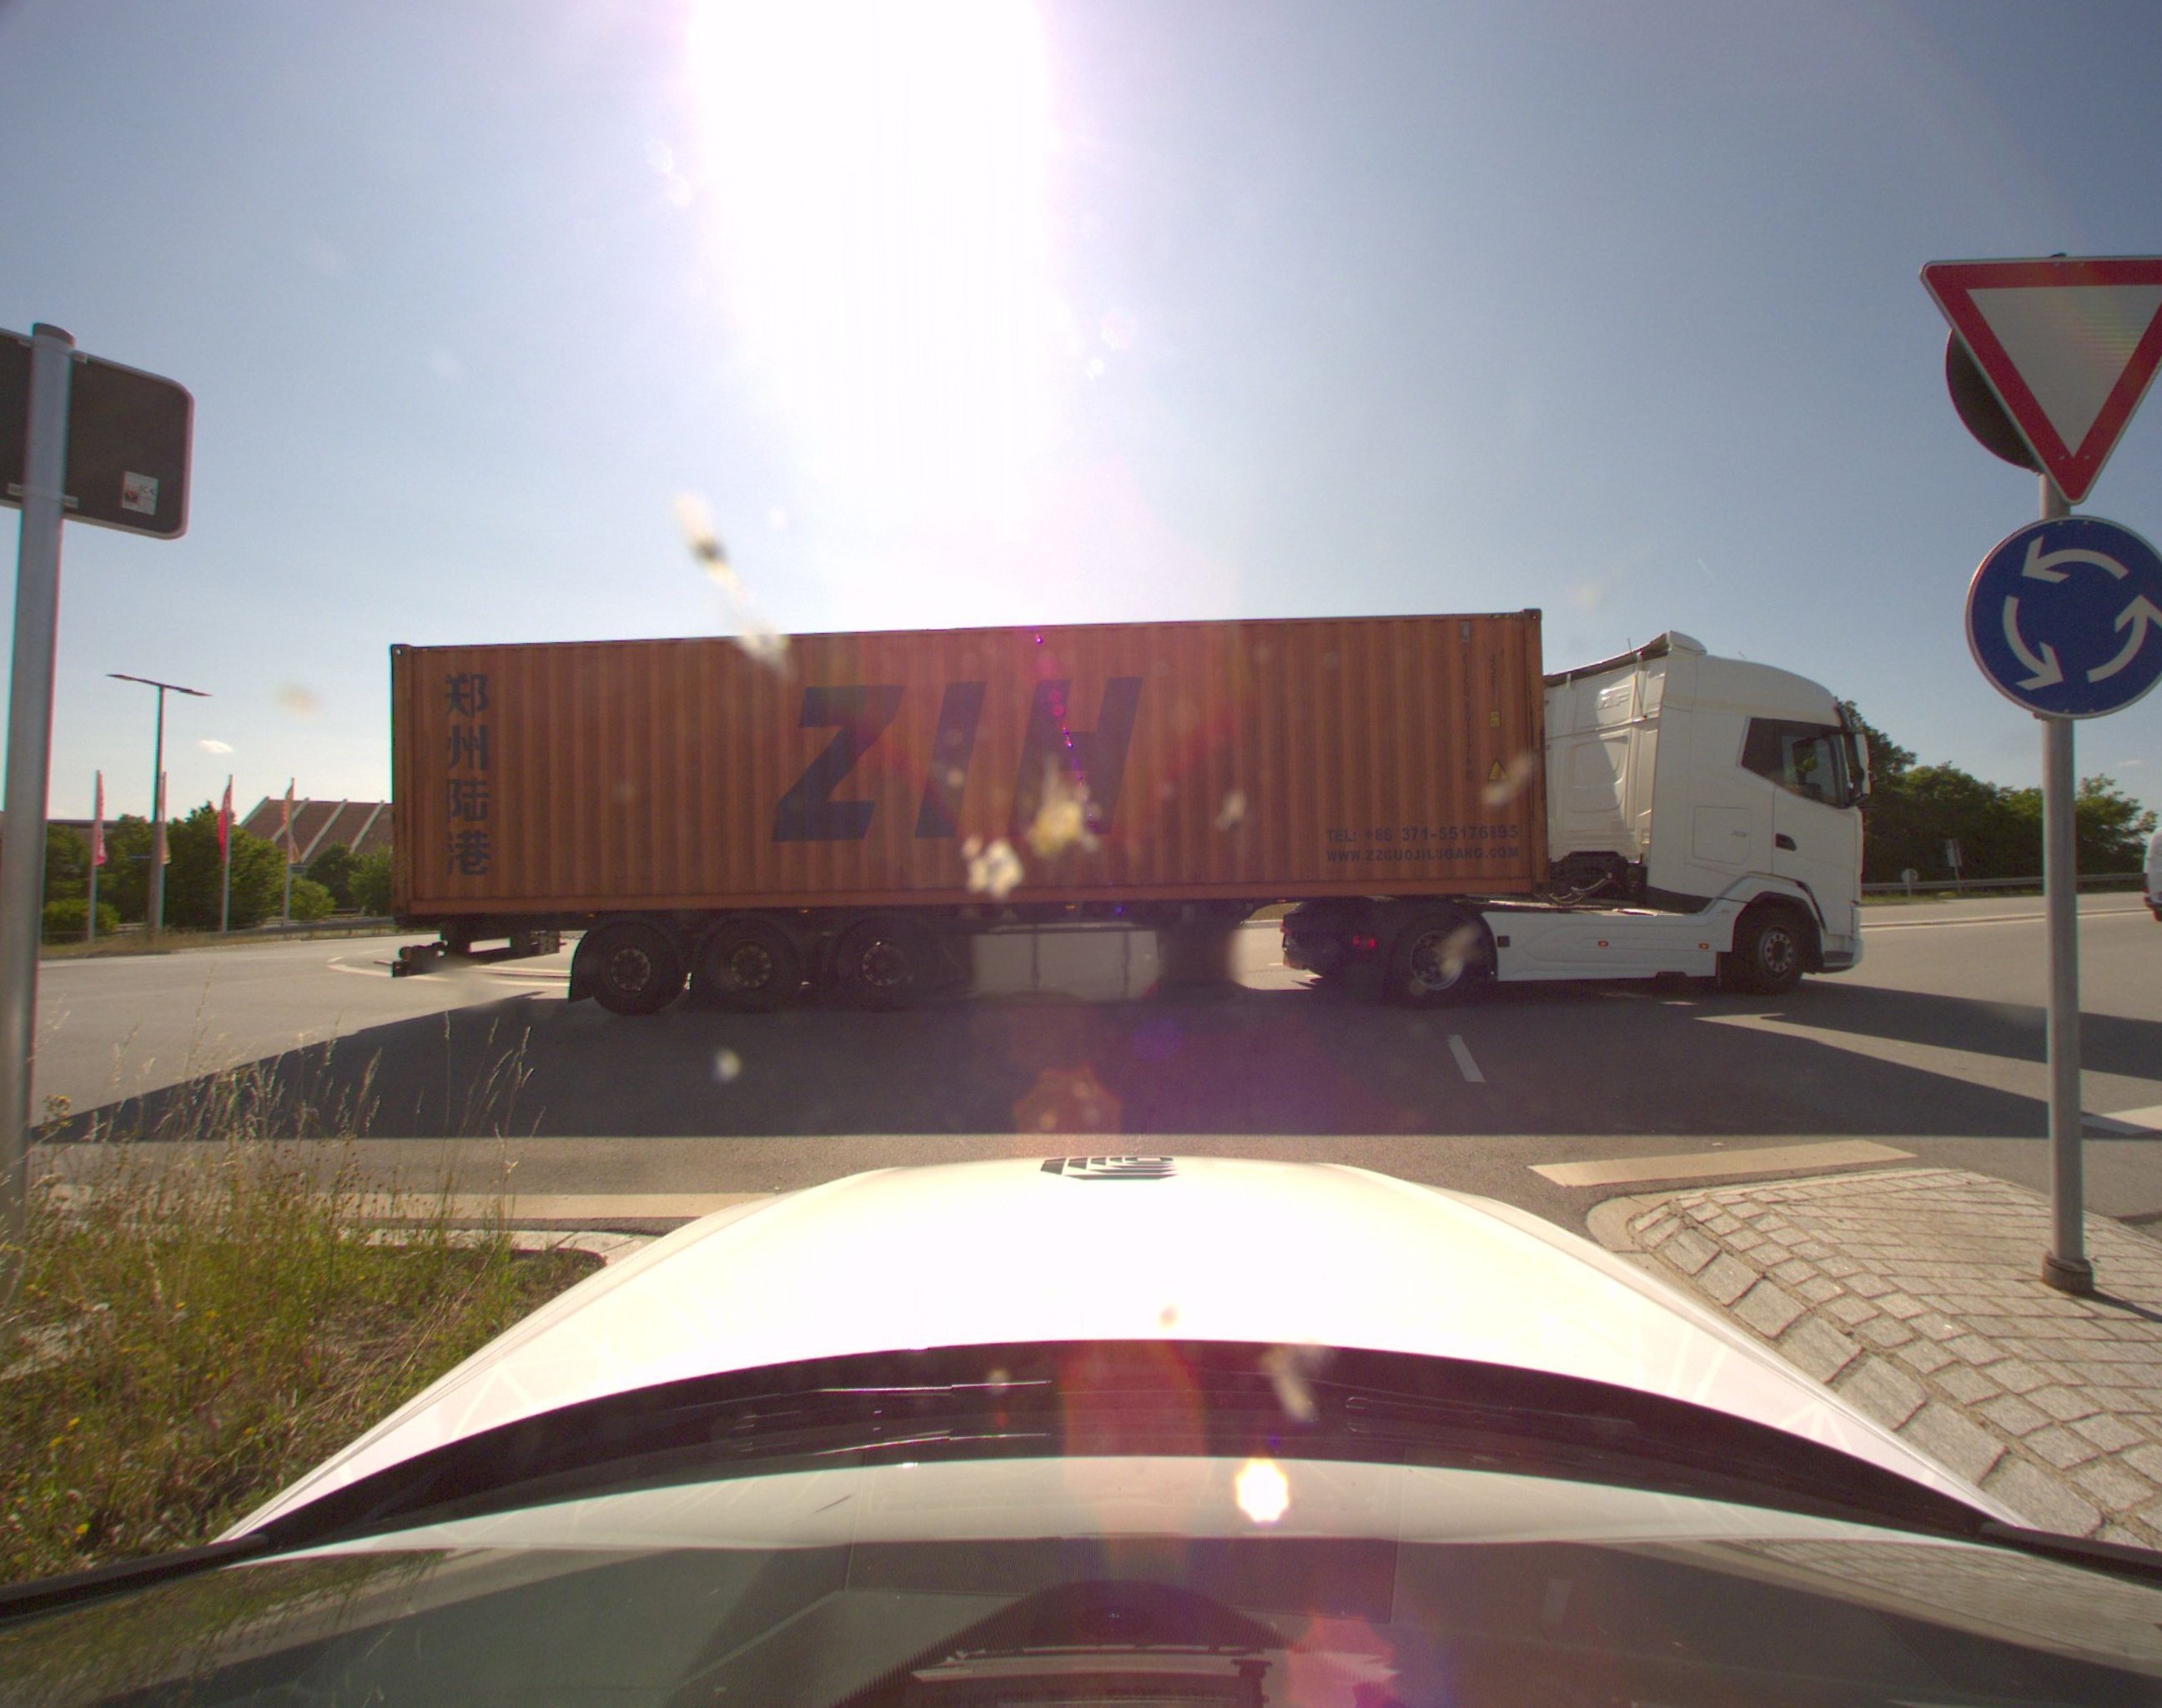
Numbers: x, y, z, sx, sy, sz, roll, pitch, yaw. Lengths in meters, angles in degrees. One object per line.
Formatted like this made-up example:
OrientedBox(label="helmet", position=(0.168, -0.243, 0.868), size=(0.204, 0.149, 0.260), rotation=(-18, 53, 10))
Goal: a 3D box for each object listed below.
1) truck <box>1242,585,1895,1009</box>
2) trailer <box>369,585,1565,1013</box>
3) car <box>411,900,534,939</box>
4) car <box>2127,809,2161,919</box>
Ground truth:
OrientedBox(label="truck", position=(5.451, -0.561, 9.685), size=(6.410, 4.107, 2.655), rotation=(0, -1, -9))
OrientedBox(label="trailer", position=(-1.310, -0.483, 9.633), size=(12.269, 4.154, 2.563), rotation=(-1, -1, 3))
OrientedBox(label="car", position=(-21.394, 2.282, 28.834), size=(1.465, 1.156, 3.709), rotation=(0, -1, 2))
OrientedBox(label="car", position=(31.657, 0.292, 22.659), size=(6.153, 2.921, 2.066), rotation=(1, -1, -28))
